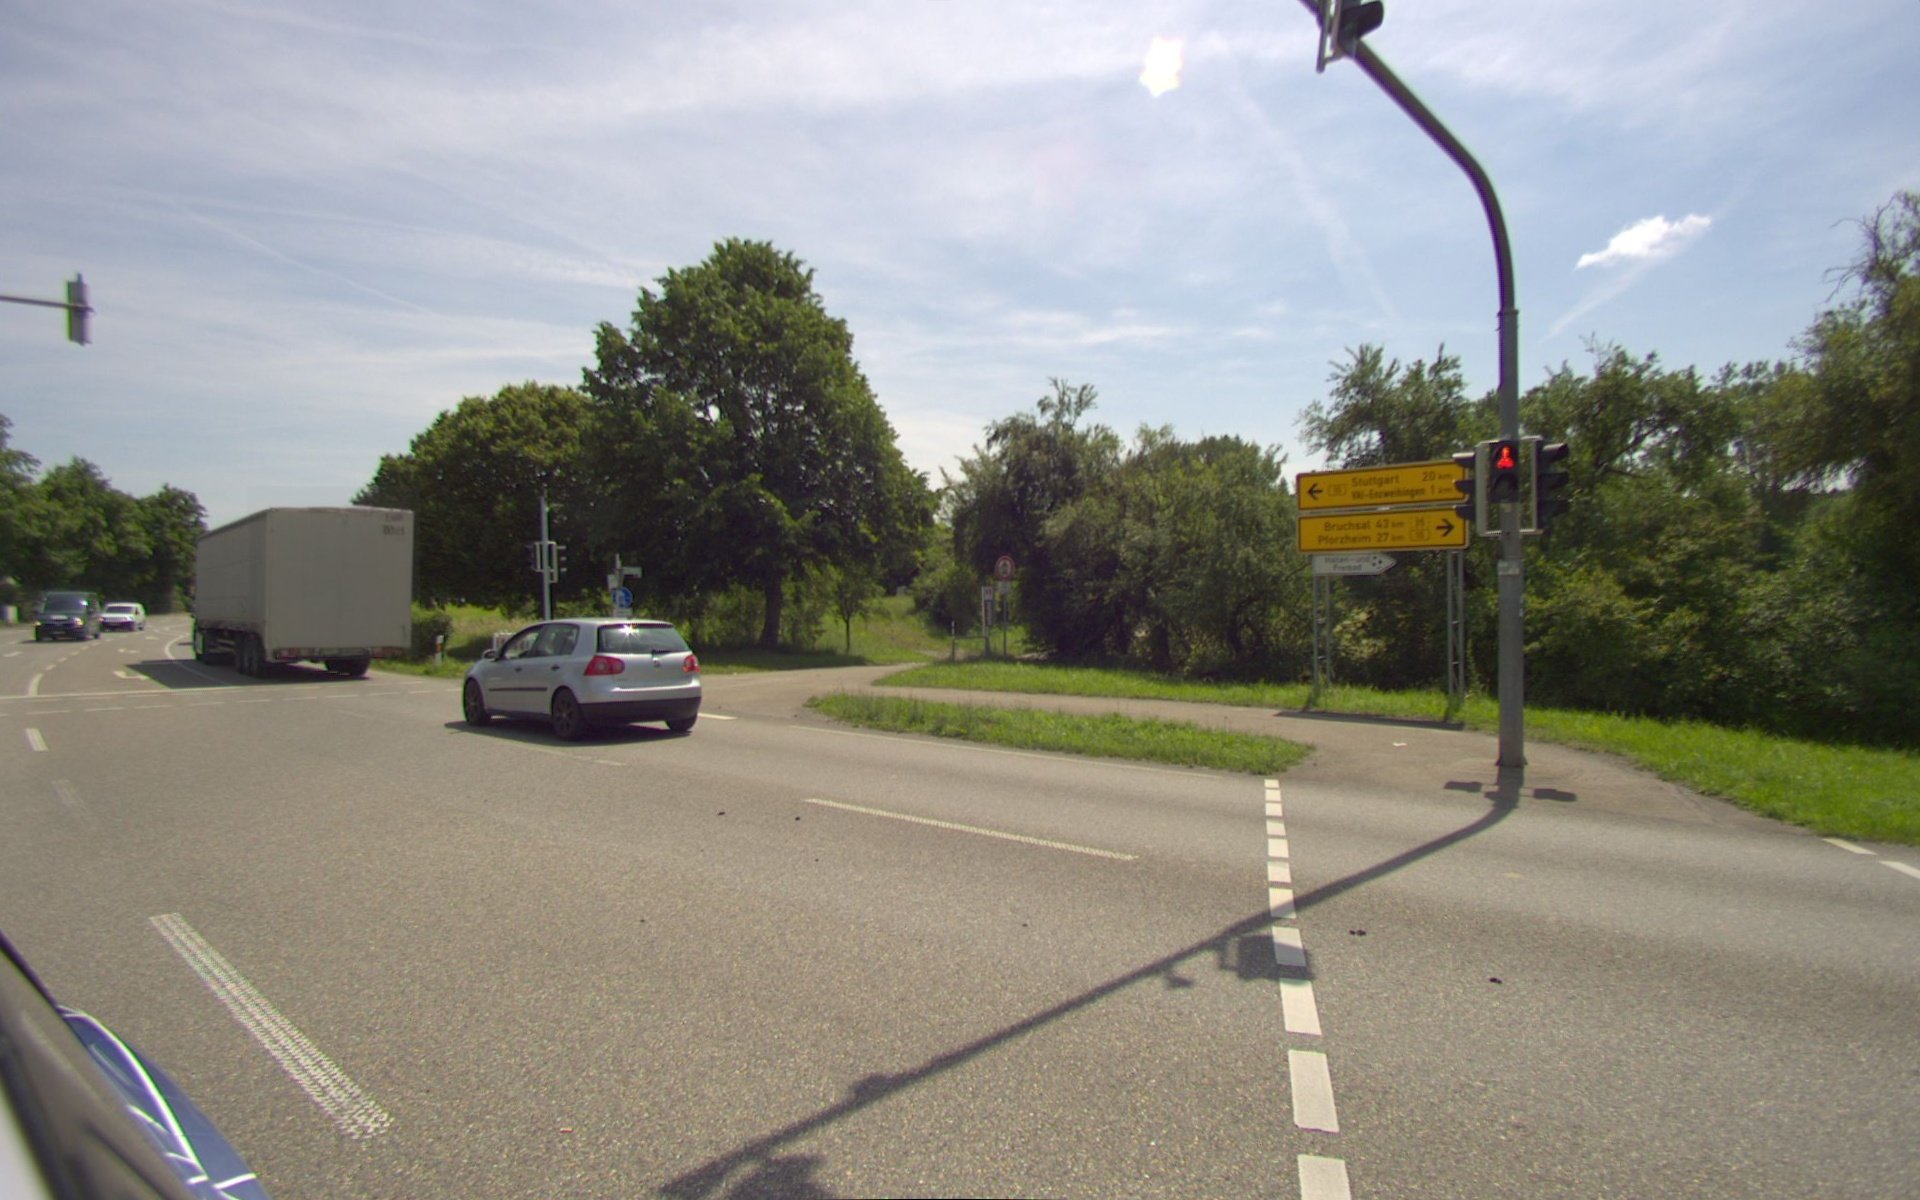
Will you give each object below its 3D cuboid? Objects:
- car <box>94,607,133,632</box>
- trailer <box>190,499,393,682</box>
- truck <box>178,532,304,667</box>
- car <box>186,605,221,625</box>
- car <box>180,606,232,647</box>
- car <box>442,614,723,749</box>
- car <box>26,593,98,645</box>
[{"bbox_3d":[-55.245,1.261,66.116,1.755,1.504,4.167,0,0,-37],"label":"car"},{"bbox_3d":[-19.090,-0.047,28.281,2.536,4.060,13.608,1,-2,-43],"label":"trailer"},{"bbox_3d":[-23.940,0.066,33.555,2.536,4.061,6.566,1,-2,-43],"label":"truck"},{"bbox_3d":[-70.772,1.426,94.763,1.779,1.746,4.013,-1,-1,-24],"label":"car"},{"bbox_3d":[-36.673,1.268,49.334,1.846,1.900,4.964,1,-1,-35],"label":"car"},{"bbox_3d":[-5.058,0.960,13.339,3.998,1.507,1.753,-1,-2,41],"label":"car"},{"bbox_3d":[-45.928,0.939,51.835,1.948,2.538,4.170,0,0,-30],"label":"car"}]
